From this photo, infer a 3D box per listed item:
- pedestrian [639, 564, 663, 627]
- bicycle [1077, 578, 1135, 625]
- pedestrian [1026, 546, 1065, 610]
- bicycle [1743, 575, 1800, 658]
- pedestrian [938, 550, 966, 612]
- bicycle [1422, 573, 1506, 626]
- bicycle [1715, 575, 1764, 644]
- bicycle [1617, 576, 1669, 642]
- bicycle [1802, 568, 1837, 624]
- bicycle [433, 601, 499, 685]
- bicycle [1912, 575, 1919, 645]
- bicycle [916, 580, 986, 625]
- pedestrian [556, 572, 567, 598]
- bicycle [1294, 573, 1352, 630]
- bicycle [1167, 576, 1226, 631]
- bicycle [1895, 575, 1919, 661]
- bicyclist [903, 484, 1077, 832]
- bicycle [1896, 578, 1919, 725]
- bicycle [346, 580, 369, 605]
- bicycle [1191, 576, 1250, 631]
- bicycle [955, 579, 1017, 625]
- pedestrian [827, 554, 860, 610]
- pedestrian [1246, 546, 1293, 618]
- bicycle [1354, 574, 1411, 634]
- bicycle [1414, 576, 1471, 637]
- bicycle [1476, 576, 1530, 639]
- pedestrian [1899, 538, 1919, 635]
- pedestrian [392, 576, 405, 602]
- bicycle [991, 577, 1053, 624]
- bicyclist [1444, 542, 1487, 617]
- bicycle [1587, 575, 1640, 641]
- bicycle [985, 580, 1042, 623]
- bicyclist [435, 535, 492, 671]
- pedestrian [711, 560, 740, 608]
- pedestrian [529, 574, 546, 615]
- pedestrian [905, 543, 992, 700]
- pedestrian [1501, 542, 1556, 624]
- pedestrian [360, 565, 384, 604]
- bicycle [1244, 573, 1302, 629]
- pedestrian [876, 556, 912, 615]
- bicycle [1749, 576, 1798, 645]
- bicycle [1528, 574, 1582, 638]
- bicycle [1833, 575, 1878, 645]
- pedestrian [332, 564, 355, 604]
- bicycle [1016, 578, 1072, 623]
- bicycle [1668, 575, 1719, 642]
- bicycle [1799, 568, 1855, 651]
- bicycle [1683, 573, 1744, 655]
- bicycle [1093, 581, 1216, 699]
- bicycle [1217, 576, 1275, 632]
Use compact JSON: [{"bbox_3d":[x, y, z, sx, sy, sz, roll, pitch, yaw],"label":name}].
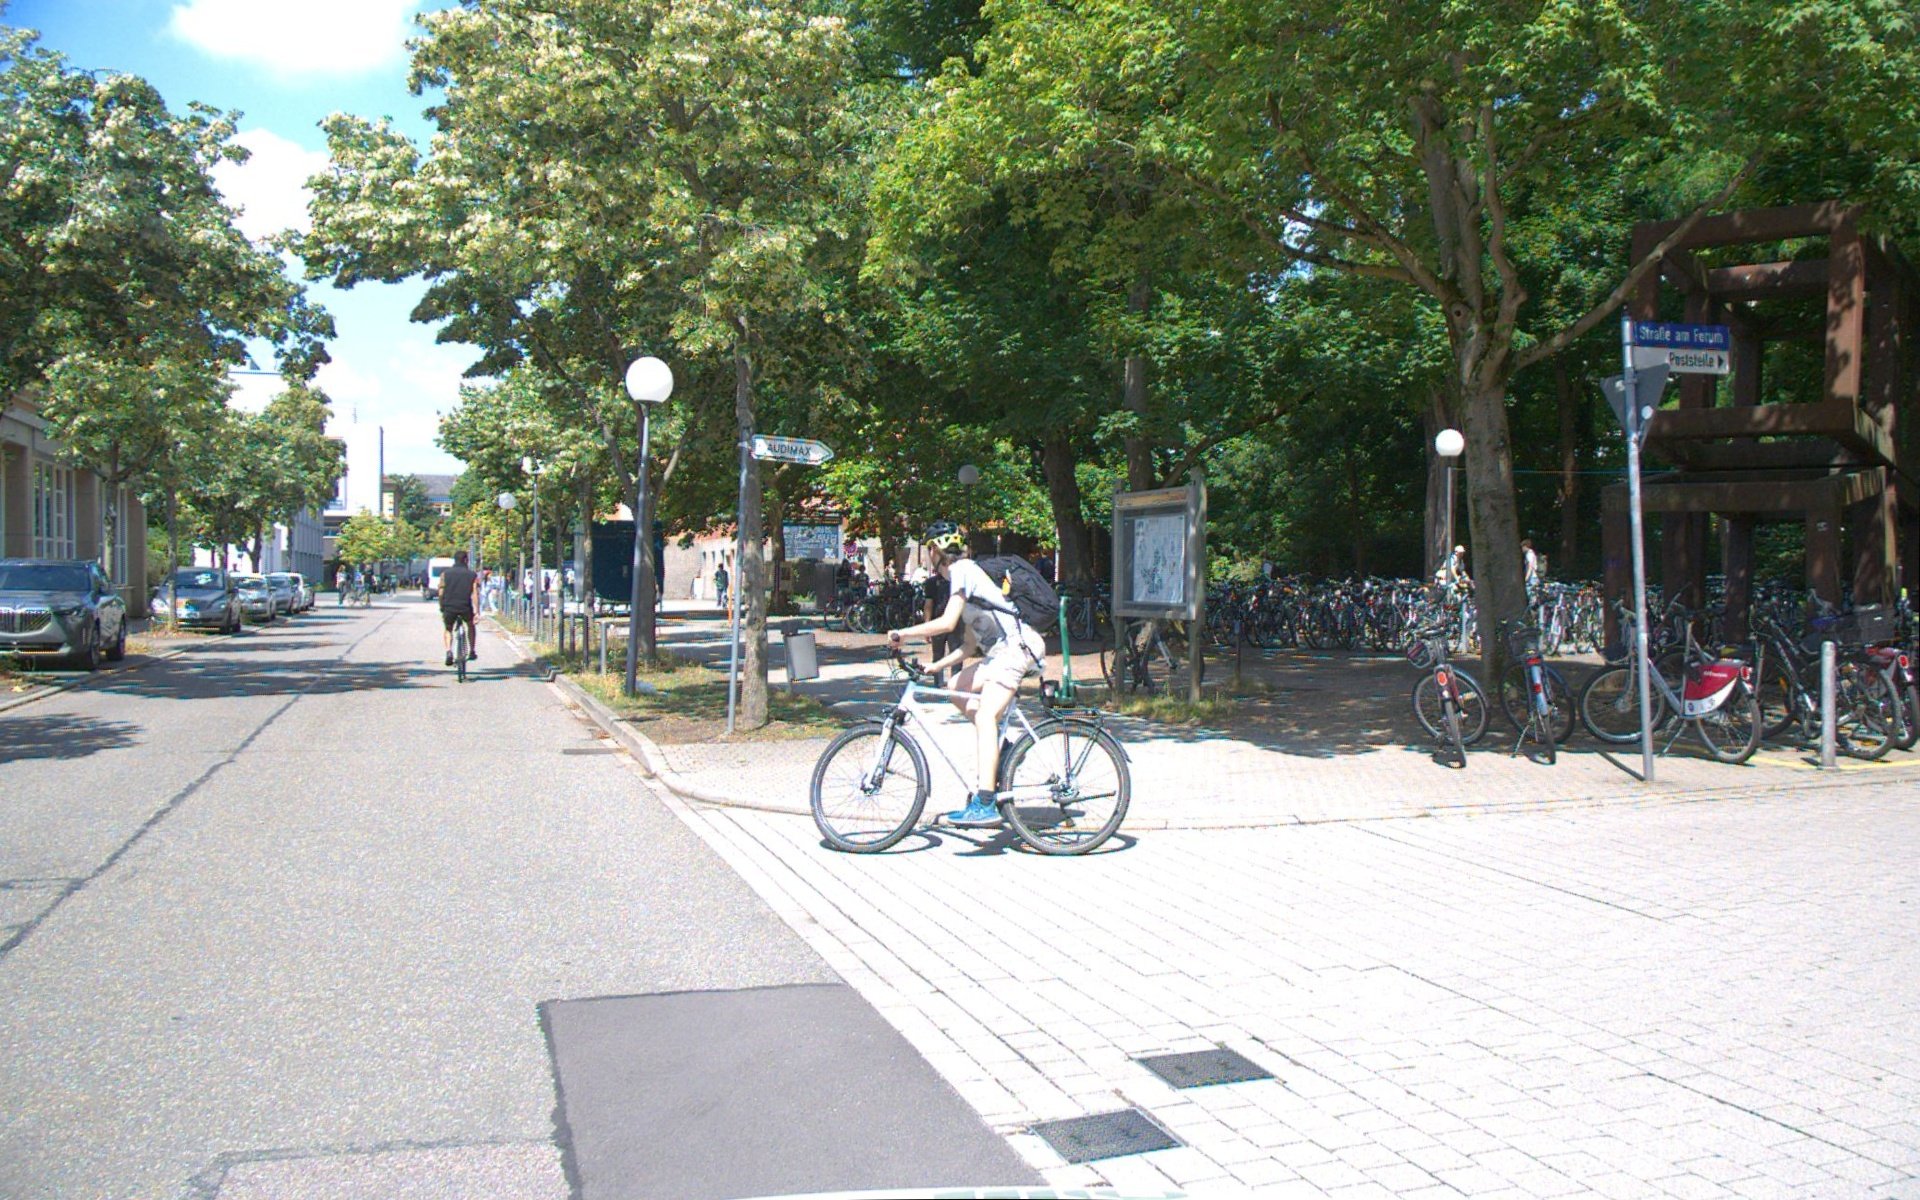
[{"bbox_3d":[-7.763,-0.125,41.606,0.558,1.546,0.839,0,1,-9],"label":"pedestrian"},{"bbox_3d":[3.550,0.015,40.085,0.466,1.102,1.689,2,2,42],"label":"bicycle"},{"bbox_3d":[2.502,-0.653,48.587,0.761,1.833,0.896,-1,2,-36],"label":"pedestrian"},{"bbox_3d":[11.674,0.213,23.773,0.492,1.127,1.774,2,2,34],"label":"bicycle"},{"bbox_3d":[-0.232,-0.573,48.754,0.600,1.805,0.654,0,1,-26],"label":"pedestrian"},{"bbox_3d":[11.017,-0.020,36.176,1.668,1.102,0.601,2,2,40],"label":"bicycle"},{"bbox_3d":[13.211,0.143,28.018,0.464,1.102,1.853,2,2,34],"label":"bicycle"},{"bbox_3d":[11.924,0.133,28.871,0.464,1.102,1.853,2,2,34],"label":"bicycle"},{"bbox_3d":[17.951,-0.095,34.563,0.505,1.129,1.777,1,2,24],"label":"bicycle"},{"bbox_3d":[-7.138,0.594,23.832,0.659,1.127,2.057,-1,1,-23],"label":"bicycle"},{"bbox_3d":[15.827,0.151,26.881,0.464,1.102,1.694,2,2,34],"label":"bicycle"},{"bbox_3d":[-0.222,0.045,41.696,1.837,1.102,0.468,0,2,-35],"label":"bicycle"},{"bbox_3d":[-24.557,-0.936,101.947,0.561,1.546,0.835,0,1,-23],"label":"pedestrian"},{"bbox_3d":[7.203,0.014,32.732,0.464,1.102,1.853,2,2,34],"label":"bicycle"},{"bbox_3d":[4.998,0.058,34.905,0.464,1.102,1.853,2,2,34],"label":"bicycle"},{"bbox_3d":[13.235,0.235,22.662,0.491,1.127,1.700,1,2,22],"label":"bicycle"},{"bbox_3d":[0.180,0.308,9.070,0.877,1.833,0.605,-1,1,5],"label":"bicyclist"},{"bbox_3d":[7.766,0.416,12.231,0.487,1.127,1.625,0,2,-13],"label":"bicycle"},{"bbox_3d":[-27.750,-0.336,76.192,0.470,1.102,1.675,0,2,-40],"label":"bicycle"},{"bbox_3d":[5.438,0.064,34.501,0.464,1.102,1.853,2,2,34],"label":"bicycle"},{"bbox_3d":[0.664,0.042,40.995,0.465,1.102,1.849,2,2,40],"label":"bicycle"},{"bbox_3d":[-3.833,-0.596,54.412,0.903,1.805,0.781,0,1,-21],"label":"pedestrian"},{"bbox_3d":[7.880,-0.469,42.172,0.761,1.805,0.896,-1,2,-36],"label":"pedestrian"},{"bbox_3d":[8.155,0.064,31.869,0.464,1.102,1.853,2,2,34],"label":"bicycle"},{"bbox_3d":[9.092,0.110,31.136,0.464,1.102,1.853,2,2,34],"label":"bicycle"},{"bbox_3d":[10.063,0.124,30.615,0.464,1.102,1.853,2,2,34],"label":"bicycle"},{"bbox_3d":[18.140,-0.249,30.829,0.763,1.805,0.894,-1,2,-41],"label":"pedestrian"},{"bbox_3d":[-39.001,-0.760,114.890,0.753,1.805,0.905,0,1,-10],"label":"pedestrian"},{"bbox_3d":[1.507,-0.006,40.143,0.465,1.102,1.849,2,2,40],"label":"bicycle"},{"bbox_3d":[11.057,-0.453,36.154,0.708,1.595,0.593,2,2,40],"label":"bicyclist"},{"bbox_3d":[11.546,0.124,29.190,0.464,1.102,1.853,2,2,34],"label":"bicycle"},{"bbox_3d":[1.393,0.028,42.883,0.466,1.102,1.689,2,2,42],"label":"bicycle"},{"bbox_3d":[-7.152,0.030,23.818,0.659,1.907,0.821,-1,1,-24],"label":"bicyclist"},{"bbox_3d":[-9.038,-0.632,63.771,0.761,1.805,0.896,-1,2,-36],"label":"pedestrian"},{"bbox_3d":[-16.062,-0.228,62.912,0.610,1.546,0.733,0,1,-16],"label":"pedestrian"},{"bbox_3d":[-0.138,0.223,18.651,0.715,1.713,0.868,-1,1,-21],"label":"pedestrian"},{"bbox_3d":[12.652,-0.395,36.841,0.755,1.805,0.903,0,1,-18],"label":"pedestrian"},{"bbox_3d":[-27.230,-0.722,76.621,0.763,1.805,0.894,-1,2,-41],"label":"pedestrian"},{"bbox_3d":[6.407,0.004,33.815,0.464,1.102,1.853,2,2,34],"label":"bicycle"},{"bbox_3d":[-2.049,-0.469,51.641,0.761,1.805,0.896,-1,2,-36],"label":"pedestrian"},{"bbox_3d":[13.583,0.153,27.591,0.464,1.102,1.853,2,2,34],"label":"bicycle"},{"bbox_3d":[10.776,0.097,29.941,0.464,1.102,1.853,2,2,34],"label":"bicycle"},{"bbox_3d":[14.696,0.145,27.135,0.464,1.102,1.694,2,2,34],"label":"bicycle"},{"bbox_3d":[-28.215,-0.732,75.705,0.763,1.805,0.894,-1,2,-41],"label":"pedestrian"},{"bbox_3d":[2.148,0.005,42.231,0.466,1.102,1.689,2,2,42],"label":"bicycle"},{"bbox_3d":[12.571,0.128,28.312,0.464,1.102,1.853,2,2,34],"label":"bicycle"},{"bbox_3d":[12.243,0.112,23.344,0.492,1.127,1.774,2,2,34],"label":"bicycle"},{"bbox_3d":[10.910,0.184,23.919,0.492,1.127,1.901,2,2,34],"label":"bicycle"},{"bbox_3d":[1.994,0.385,17.197,0.387,1.127,1.826,0,2,-24],"label":"bicycle"},{"bbox_3d":[5.941,0.071,34.273,0.464,1.102,1.853,2,2,34],"label":"bicycle"}]
